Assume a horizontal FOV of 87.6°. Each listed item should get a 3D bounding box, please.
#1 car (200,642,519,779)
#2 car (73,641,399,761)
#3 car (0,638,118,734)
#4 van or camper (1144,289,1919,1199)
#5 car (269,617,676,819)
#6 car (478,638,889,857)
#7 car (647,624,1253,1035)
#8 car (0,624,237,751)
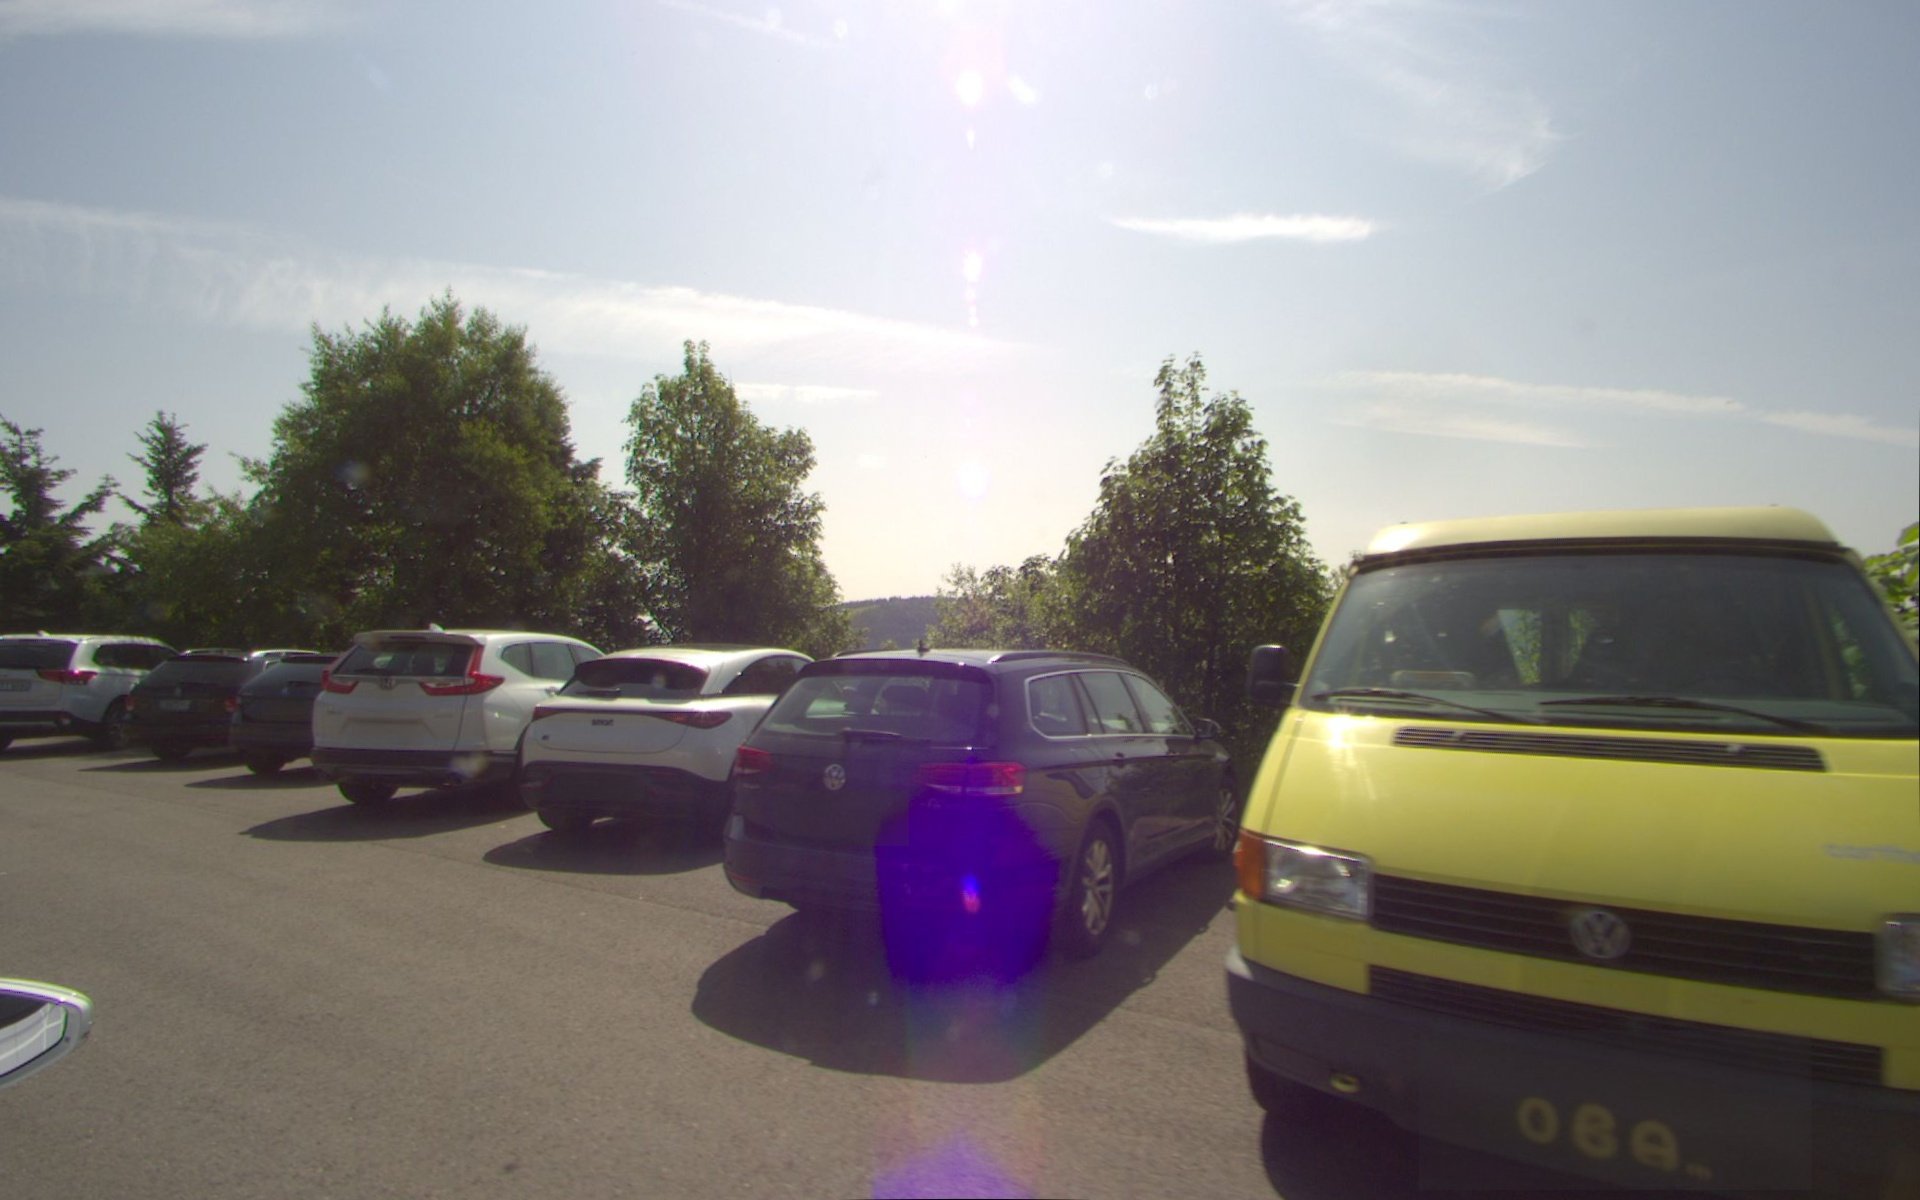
[{"bbox_3d":[-7.509,1.365,13.020,1.630,1.476,3.811,1,-4,4],"label":"car"},{"bbox_3d":[-10.206,1.425,14.594,1.858,1.478,4.056,1,-4,-2],"label":"car"},{"bbox_3d":[-16.673,1.448,17.059,1.786,1.567,4.001,1,-4,-11],"label":"car"},{"bbox_3d":[2.559,0.637,4.246,1.854,2.038,5.088,0,-4,30],"label":"van or camper"},{"bbox_3d":[-4.716,1.146,10.533,1.855,1.669,4.190,0,-4,6],"label":"car"},{"bbox_3d":[-2.172,1.152,9.200,1.908,1.518,4.099,-1,-3,13],"label":"car"},{"bbox_3d":[0.398,1.028,6.098,1.784,1.505,4.351,0,-4,28],"label":"car"},{"bbox_3d":[-13.460,1.314,15.658,1.829,1.715,4.227,1,-4,-11],"label":"car"}]
